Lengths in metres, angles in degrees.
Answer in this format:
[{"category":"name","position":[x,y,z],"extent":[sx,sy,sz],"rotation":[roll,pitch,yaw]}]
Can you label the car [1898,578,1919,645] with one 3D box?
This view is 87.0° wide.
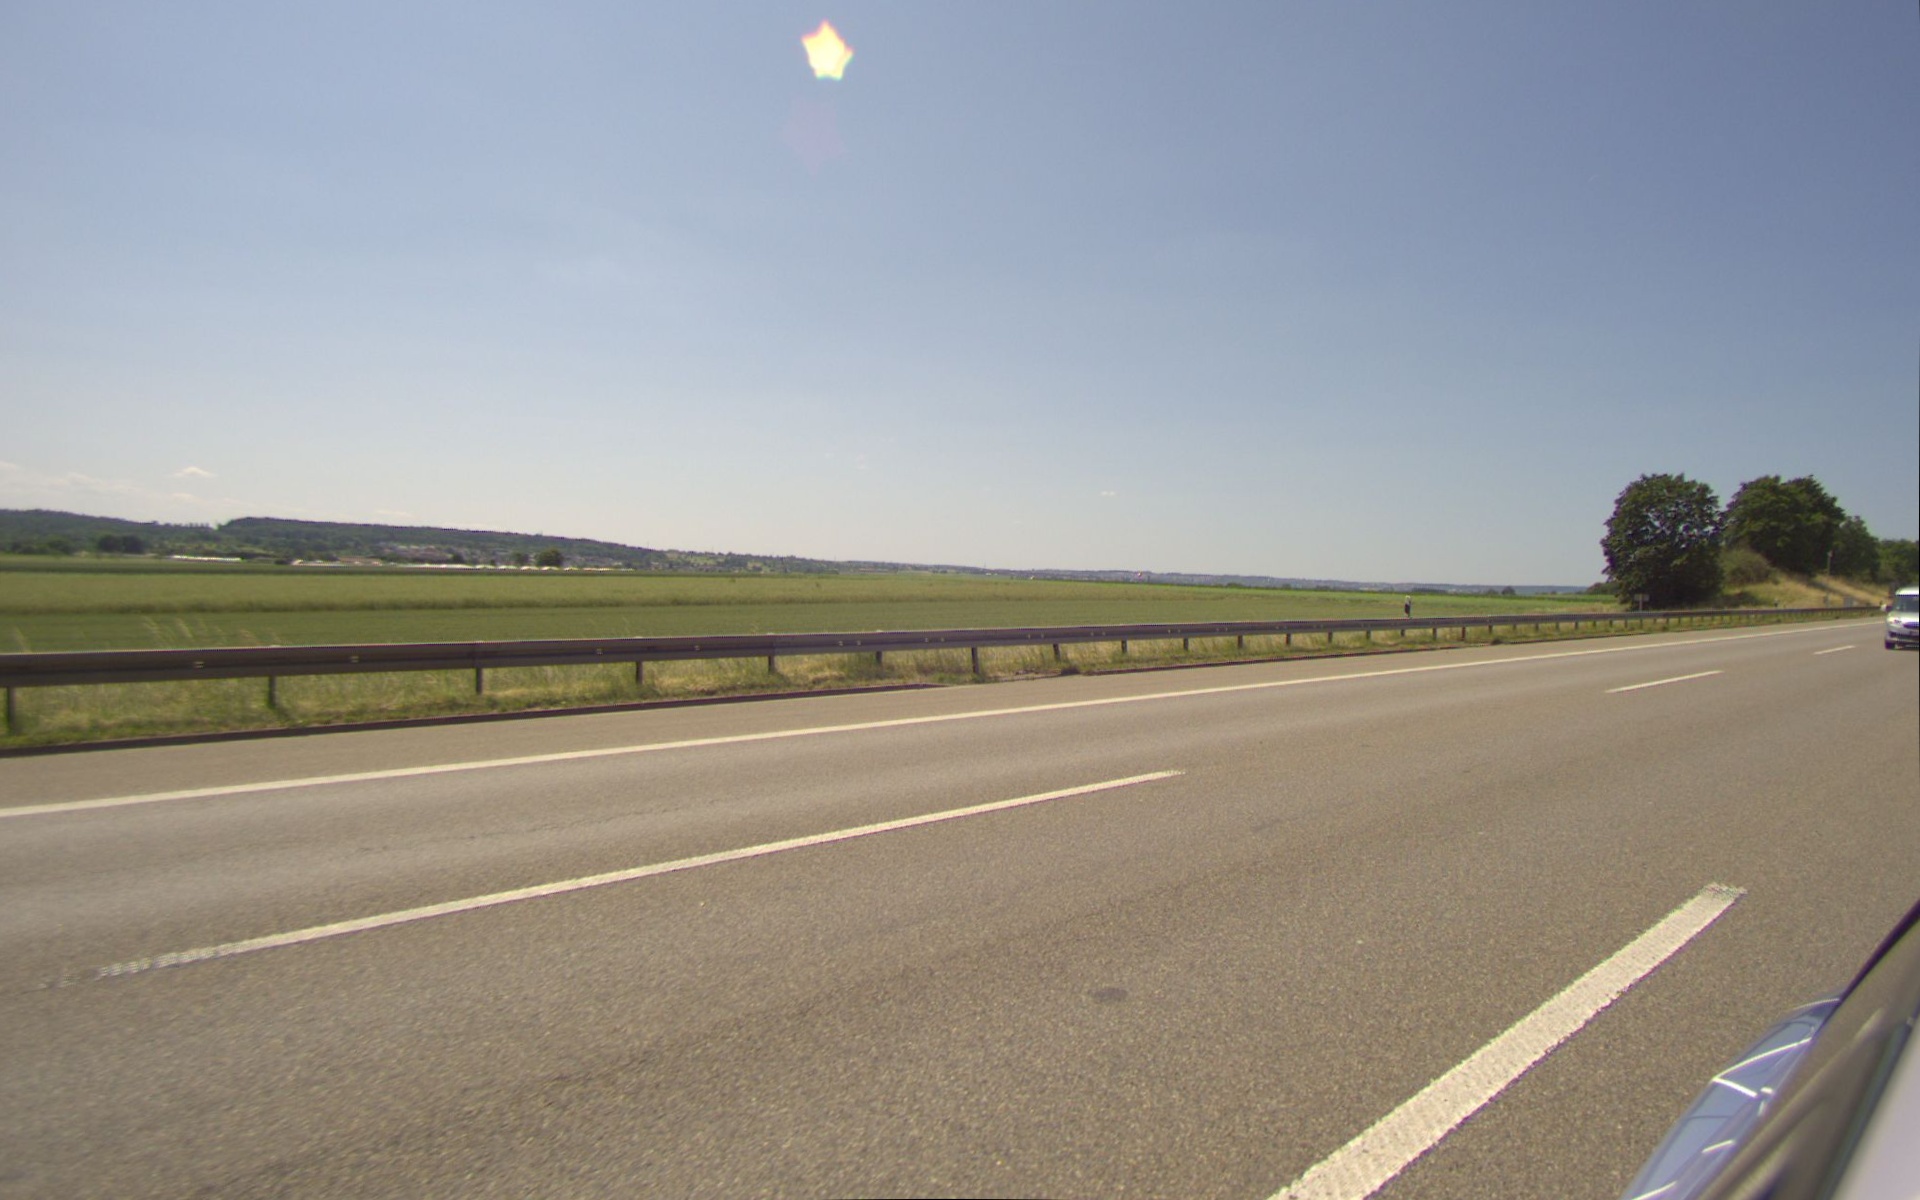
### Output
[{"category":"car","position":[29.266,0.341,29.936],"extent":[5.222,1.870,1.809],"rotation":[0,1,-43]}]
